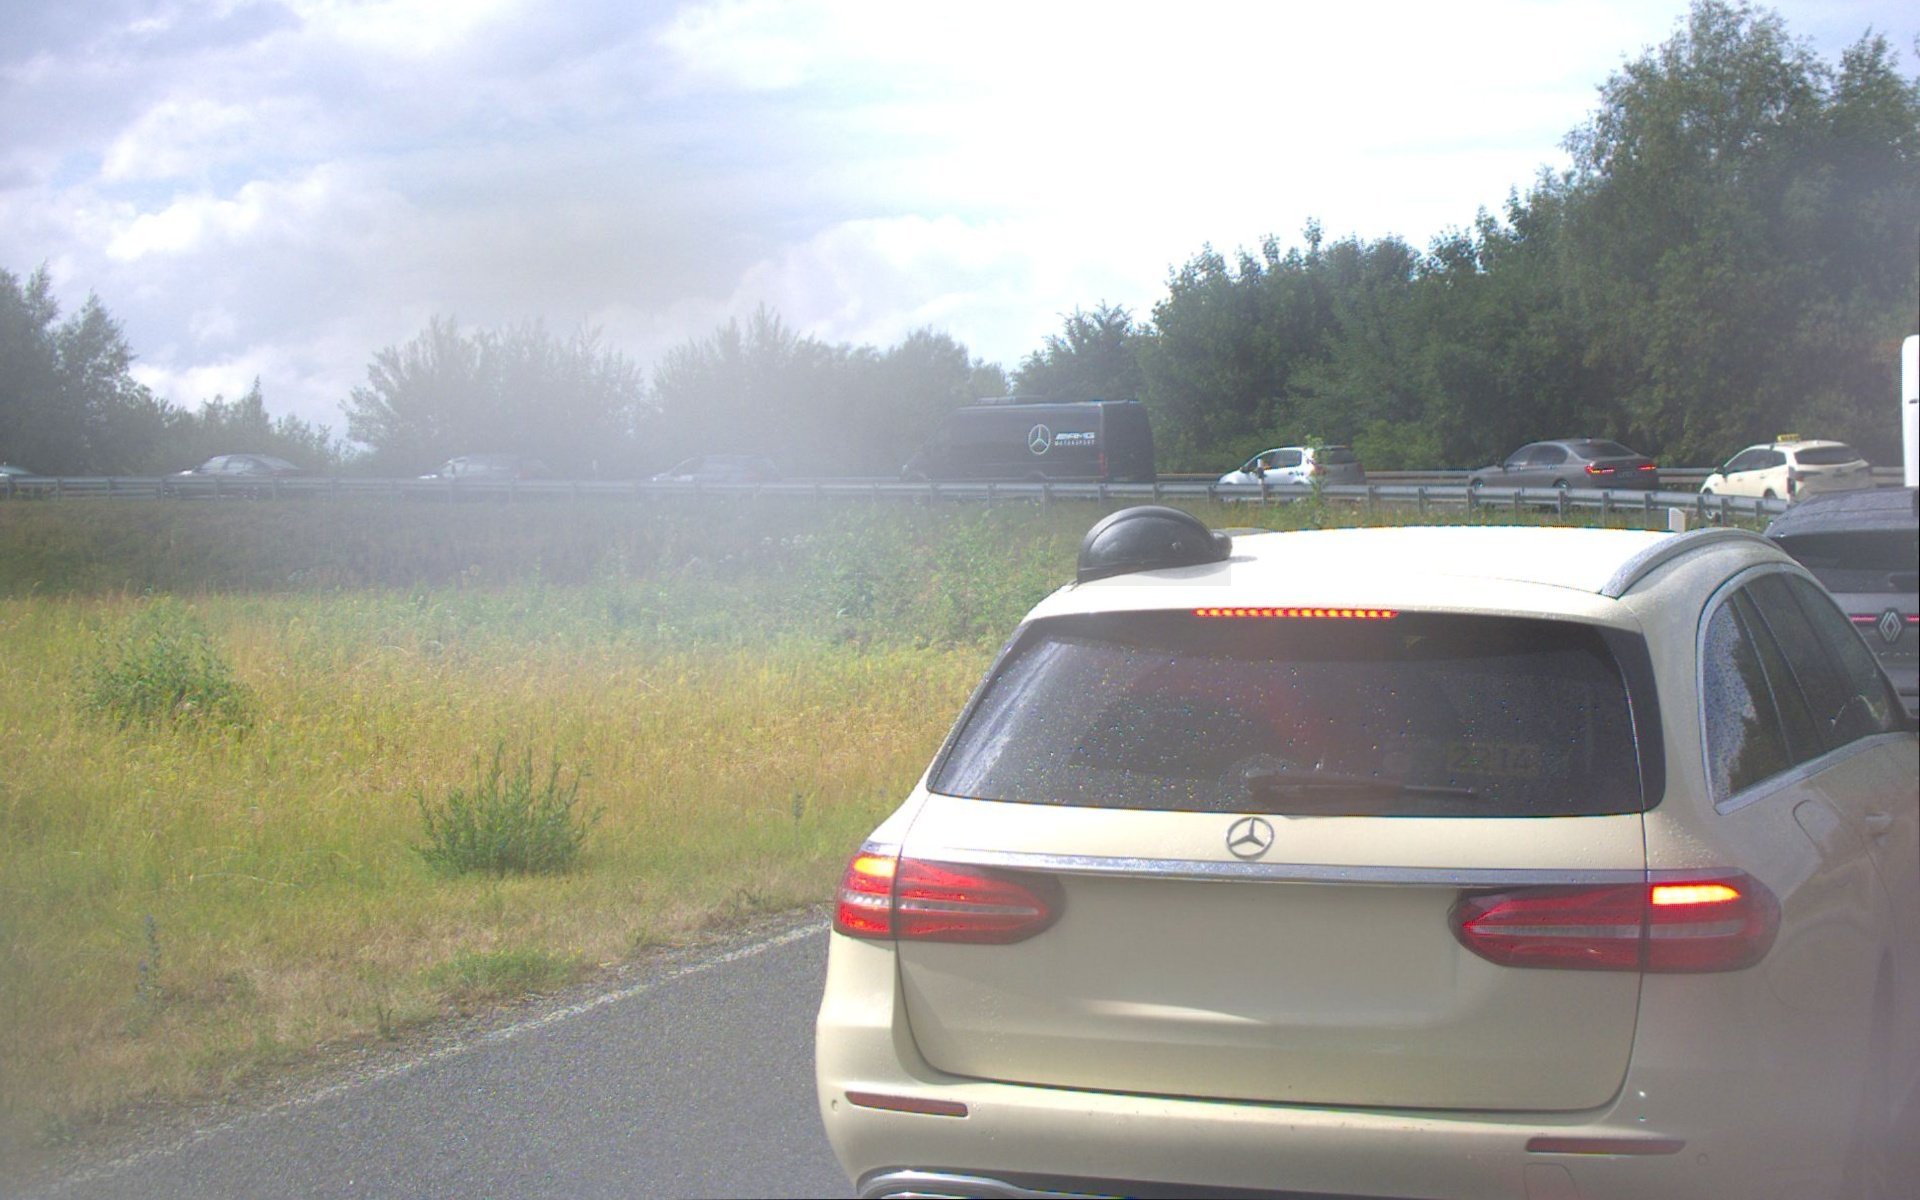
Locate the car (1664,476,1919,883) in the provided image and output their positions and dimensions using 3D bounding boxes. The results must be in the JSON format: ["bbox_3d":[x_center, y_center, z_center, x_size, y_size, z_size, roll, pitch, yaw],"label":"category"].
[{"bbox_3d":[4.358,0.244,14.703,1.720,1.519,3.995,-2,1,25],"label":"car"}]

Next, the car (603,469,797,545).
[{"bbox_3d":[-7.076,-2.506,93.392,5.050,1.855,1.996,-2,0,34],"label":"car"}]

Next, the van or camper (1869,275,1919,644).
[{"bbox_3d":[9.126,-1.102,27.629,2.434,2.720,5.993,0,1,26],"label":"van or camper"}]

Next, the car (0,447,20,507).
[{"bbox_3d":[-32.865,-3.866,110.657,5.048,1.855,1.997,-2,0,29],"label":"car"}]

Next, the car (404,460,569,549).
[{"bbox_3d":[-13.369,-2.688,97.141,3.993,2.006,1.998,-4,5,28],"label":"car"}]

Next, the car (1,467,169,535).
[{"bbox_3d":[-26.649,-3.008,104.749,4.499,1.855,1.999,-2,0,13],"label":"car"}]

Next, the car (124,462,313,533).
[{"bbox_3d":[-21.546,-2.967,99.935,5.046,1.855,1.998,-2,0,21],"label":"car"}]

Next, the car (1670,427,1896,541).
[{"bbox_3d":[14.839,-2.070,62.294,1.993,1.855,5.059,-4,2,-11],"label":"car"}]

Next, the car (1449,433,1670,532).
[{"bbox_3d":[12.523,-2.437,72.196,1.993,1.855,5.058,-2,0,-25],"label":"car"}]

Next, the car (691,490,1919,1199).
[{"bbox_3d":[1.234,0.560,7.636,1.918,1.502,4.592,1,3,20],"label":"car"}]

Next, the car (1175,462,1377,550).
[{"bbox_3d":[7.423,-2.207,81.208,1.994,1.855,5.057,-2,0,-33],"label":"car"}]

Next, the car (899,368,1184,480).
[{"bbox_3d":[2.016,-4.434,87.185,6.978,2.586,2.868,0,2,42],"label":"car"}]

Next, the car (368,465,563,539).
[{"bbox_3d":[-13.969,-2.755,97.097,5.046,1.855,1.998,-2,0,21],"label":"car"}]
